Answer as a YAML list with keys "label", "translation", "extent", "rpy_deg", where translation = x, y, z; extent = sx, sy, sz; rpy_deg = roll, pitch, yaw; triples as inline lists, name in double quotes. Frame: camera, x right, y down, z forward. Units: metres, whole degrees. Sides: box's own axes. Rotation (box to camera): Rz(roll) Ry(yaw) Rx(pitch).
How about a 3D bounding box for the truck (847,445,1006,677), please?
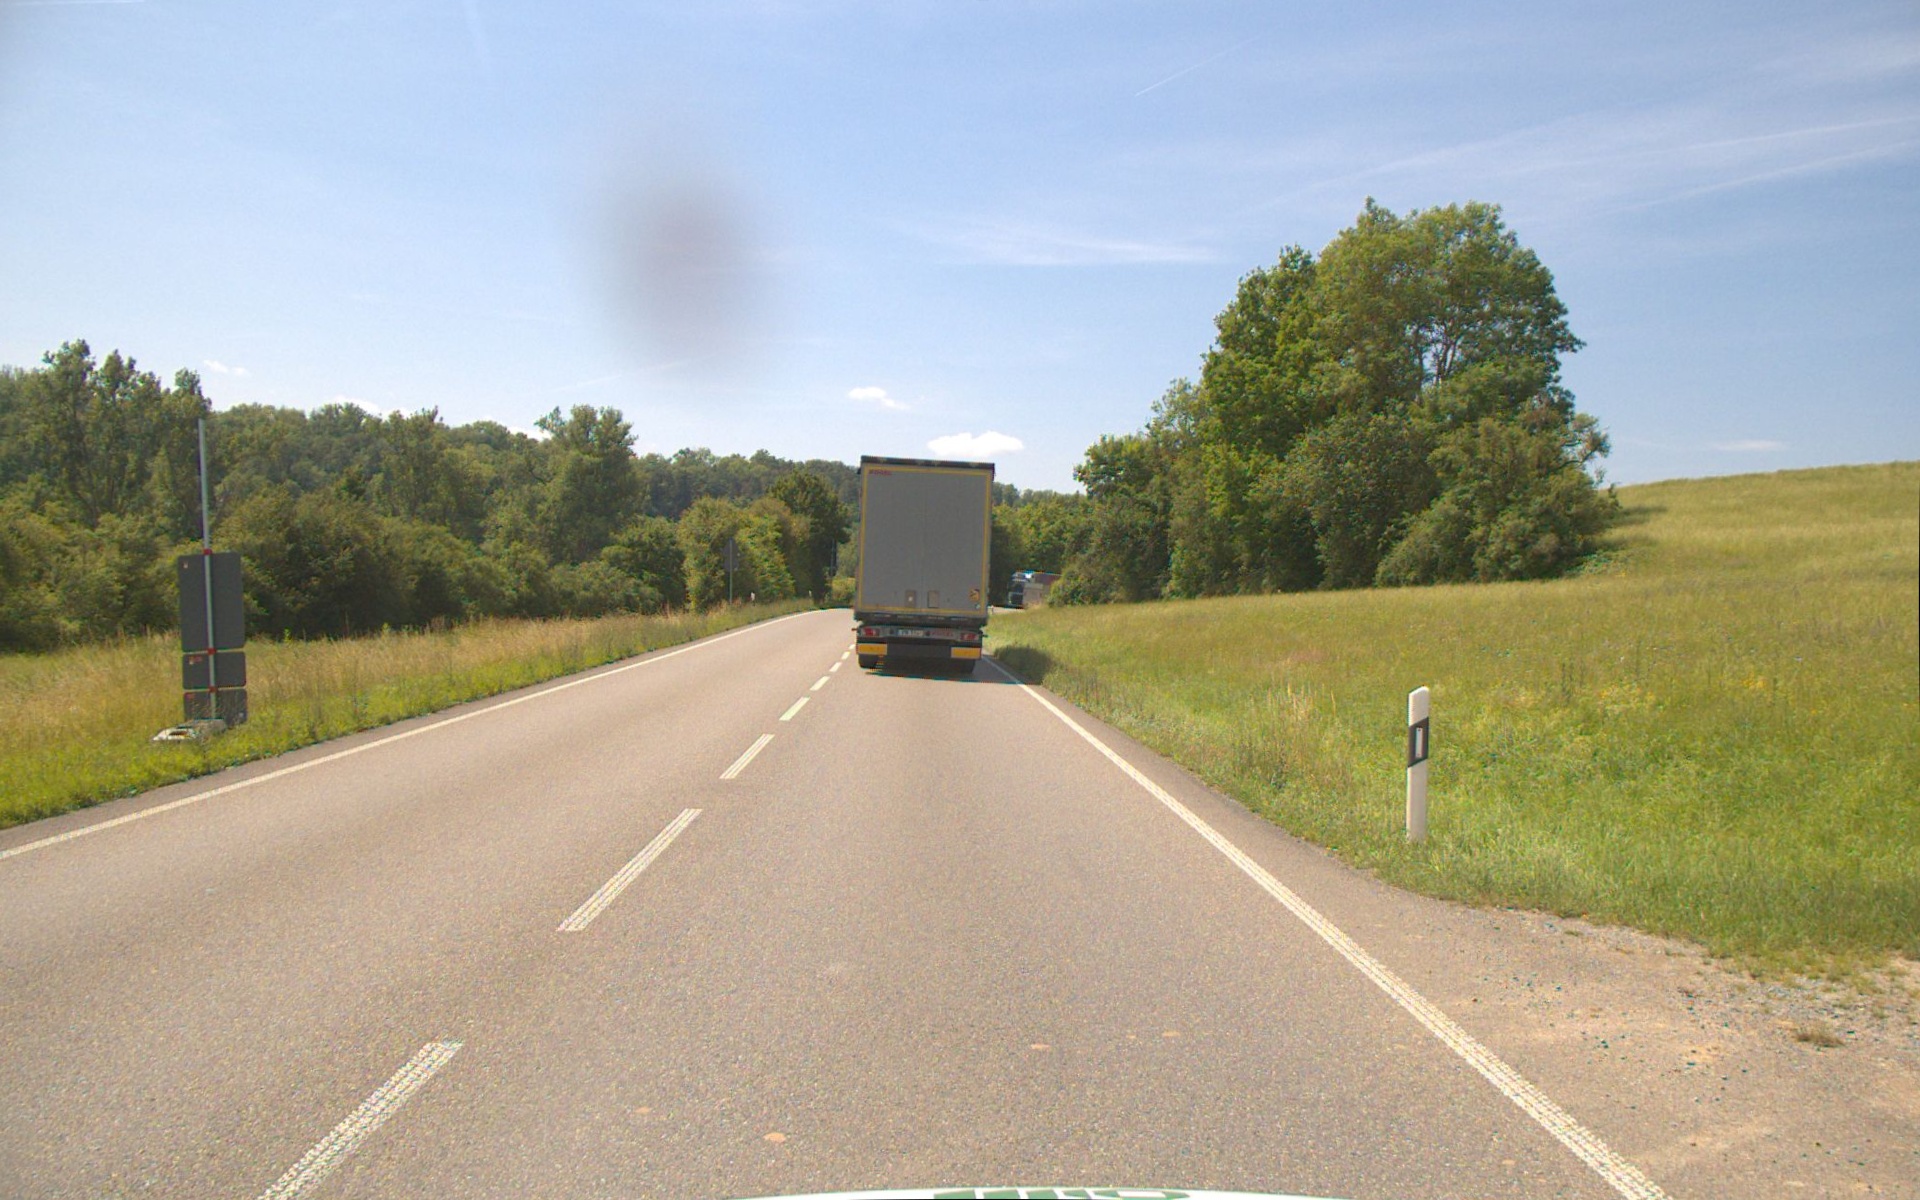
- label: "truck"
  translation: [-0.995, -0.726, 38.176]
  extent: [2.746, 4.139, 15.316]
  rpy_deg: [3, 0, -3]

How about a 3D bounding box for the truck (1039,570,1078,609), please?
- label: "truck"
  translation: [11.806, -1.188, 196.274]
  extent: [3.233, 4.463, 13.422]
  rpy_deg: [-1, 0, 9]

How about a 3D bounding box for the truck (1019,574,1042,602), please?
- label: "truck"
  translation: [7.329, -1.252, 172.772]
  extent: [2.305, 2.875, 5.060]
  rpy_deg: [-1, 0, 2]
